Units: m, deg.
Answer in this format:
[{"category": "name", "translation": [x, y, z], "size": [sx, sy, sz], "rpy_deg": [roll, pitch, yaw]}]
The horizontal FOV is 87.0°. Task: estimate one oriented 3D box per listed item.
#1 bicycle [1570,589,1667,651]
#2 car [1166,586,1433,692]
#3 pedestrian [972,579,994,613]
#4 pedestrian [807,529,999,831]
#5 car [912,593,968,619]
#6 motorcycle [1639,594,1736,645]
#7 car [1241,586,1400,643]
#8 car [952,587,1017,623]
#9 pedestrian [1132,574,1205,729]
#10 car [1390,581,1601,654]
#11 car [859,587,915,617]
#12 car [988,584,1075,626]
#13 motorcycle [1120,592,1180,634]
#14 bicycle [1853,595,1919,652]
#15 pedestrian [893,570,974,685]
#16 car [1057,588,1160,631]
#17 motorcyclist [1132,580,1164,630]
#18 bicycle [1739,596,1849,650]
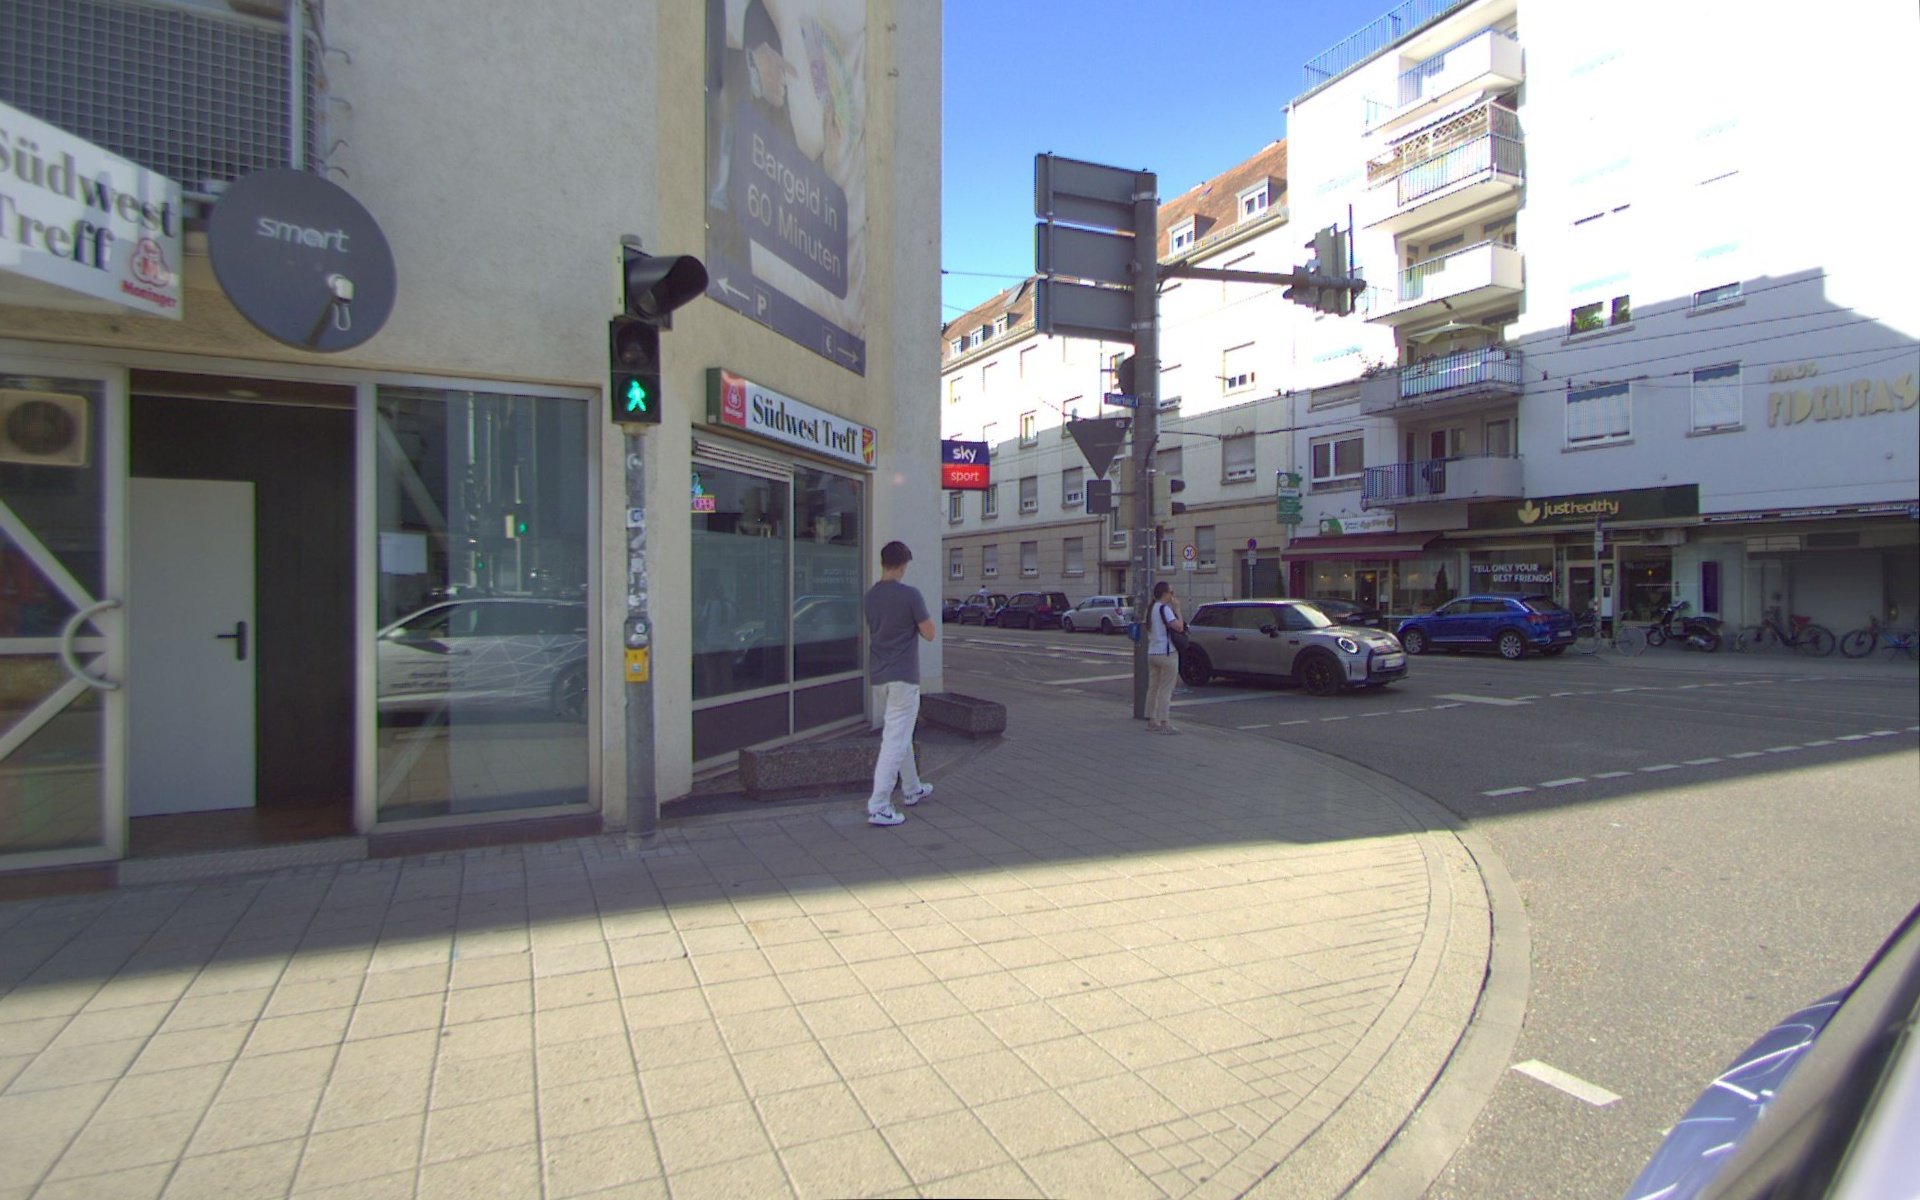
[{"category": "bicycle", "translation": [15.118, 0.430, 23.284], "size": [0.596, 1.330, 1.799], "rpy_deg": [-3, 2, -27]}, {"category": "car", "translation": [5.374, 0.564, 16.445], "size": [1.697, 1.442, 3.816], "rpy_deg": [-3, 1, -35]}, {"category": "pedestrian", "translation": [1.234, -0.219, 53.872], "size": [0.651, 1.789, 1.006], "rpy_deg": [-3, 2, -34]}, {"category": "pedestrian", "translation": [-0.362, 0.451, 6.485], "size": [1.023, 1.764, 0.687], "rpy_deg": [-1, 2, -38]}, {"category": "car", "translation": [-1.076, 0.279, 52.936], "size": [1.447, 1.234, 3.529], "rpy_deg": [-4, 2, -28]}, {"category": "motorcycle", "translation": [17.401, 0.442, 24.253], "size": [0.596, 1.148, 1.799], "rpy_deg": [-3, 2, -27]}, {"category": "car", "translation": [10.545, 0.367, 29.963], "size": [1.739, 1.493, 4.453], "rpy_deg": [-3, 2, -26]}, {"category": "car", "translation": [1.145, 0.185, 48.874], "size": [1.611, 1.577, 3.601], "rpy_deg": [-4, 2, -27]}, {"category": "pedestrian", "translation": [2.324, 0.552, 11.327], "size": [0.530, 1.644, 0.733], "rpy_deg": [4, 1, -2]}, {"category": "car", "translation": [12.929, 0.395, 24.711], "size": [1.739, 1.522, 4.242], "rpy_deg": [-3, 1, -29]}, {"category": "car", "translation": [-4.403, 0.074, 60.301], "size": [1.718, 1.628, 4.165], "rpy_deg": [-4, 2, -28]}, {"category": "car", "translation": [3.090, 0.170, 44.600], "size": [1.784, 1.653, 4.331], "rpy_deg": [-4, 2, -28]}, {"category": "motorcycle", "translation": [5.876, 0.399, 31.420], "size": [0.700, 1.235, 1.967], "rpy_deg": [-1, 0, -31]}, {"category": "bicycle", "translation": [19.629, 0.482, 21.005], "size": [0.541, 1.119, 1.541], "rpy_deg": [-3, 2, -25]}, {"category": "pedestrian", "translation": [-0.388, 0.402, 14.786], "size": [0.870, 1.613, 0.811], "rpy_deg": [2, -2, -32]}, {"category": "car", "translation": [5.728, 0.310, 39.583], "size": [1.696, 1.472, 4.377], "rpy_deg": [-4, 2, -28]}, {"category": "motorcyclist", "translation": [5.841, 0.156, 31.466], "size": [0.682, 1.515, 0.685], "rpy_deg": [-1, -1, -31]}, {"category": "bicycle", "translation": [18.579, 0.488, 22.593], "size": [0.596, 1.102, 1.799], "rpy_deg": [-3, 2, -27]}]
